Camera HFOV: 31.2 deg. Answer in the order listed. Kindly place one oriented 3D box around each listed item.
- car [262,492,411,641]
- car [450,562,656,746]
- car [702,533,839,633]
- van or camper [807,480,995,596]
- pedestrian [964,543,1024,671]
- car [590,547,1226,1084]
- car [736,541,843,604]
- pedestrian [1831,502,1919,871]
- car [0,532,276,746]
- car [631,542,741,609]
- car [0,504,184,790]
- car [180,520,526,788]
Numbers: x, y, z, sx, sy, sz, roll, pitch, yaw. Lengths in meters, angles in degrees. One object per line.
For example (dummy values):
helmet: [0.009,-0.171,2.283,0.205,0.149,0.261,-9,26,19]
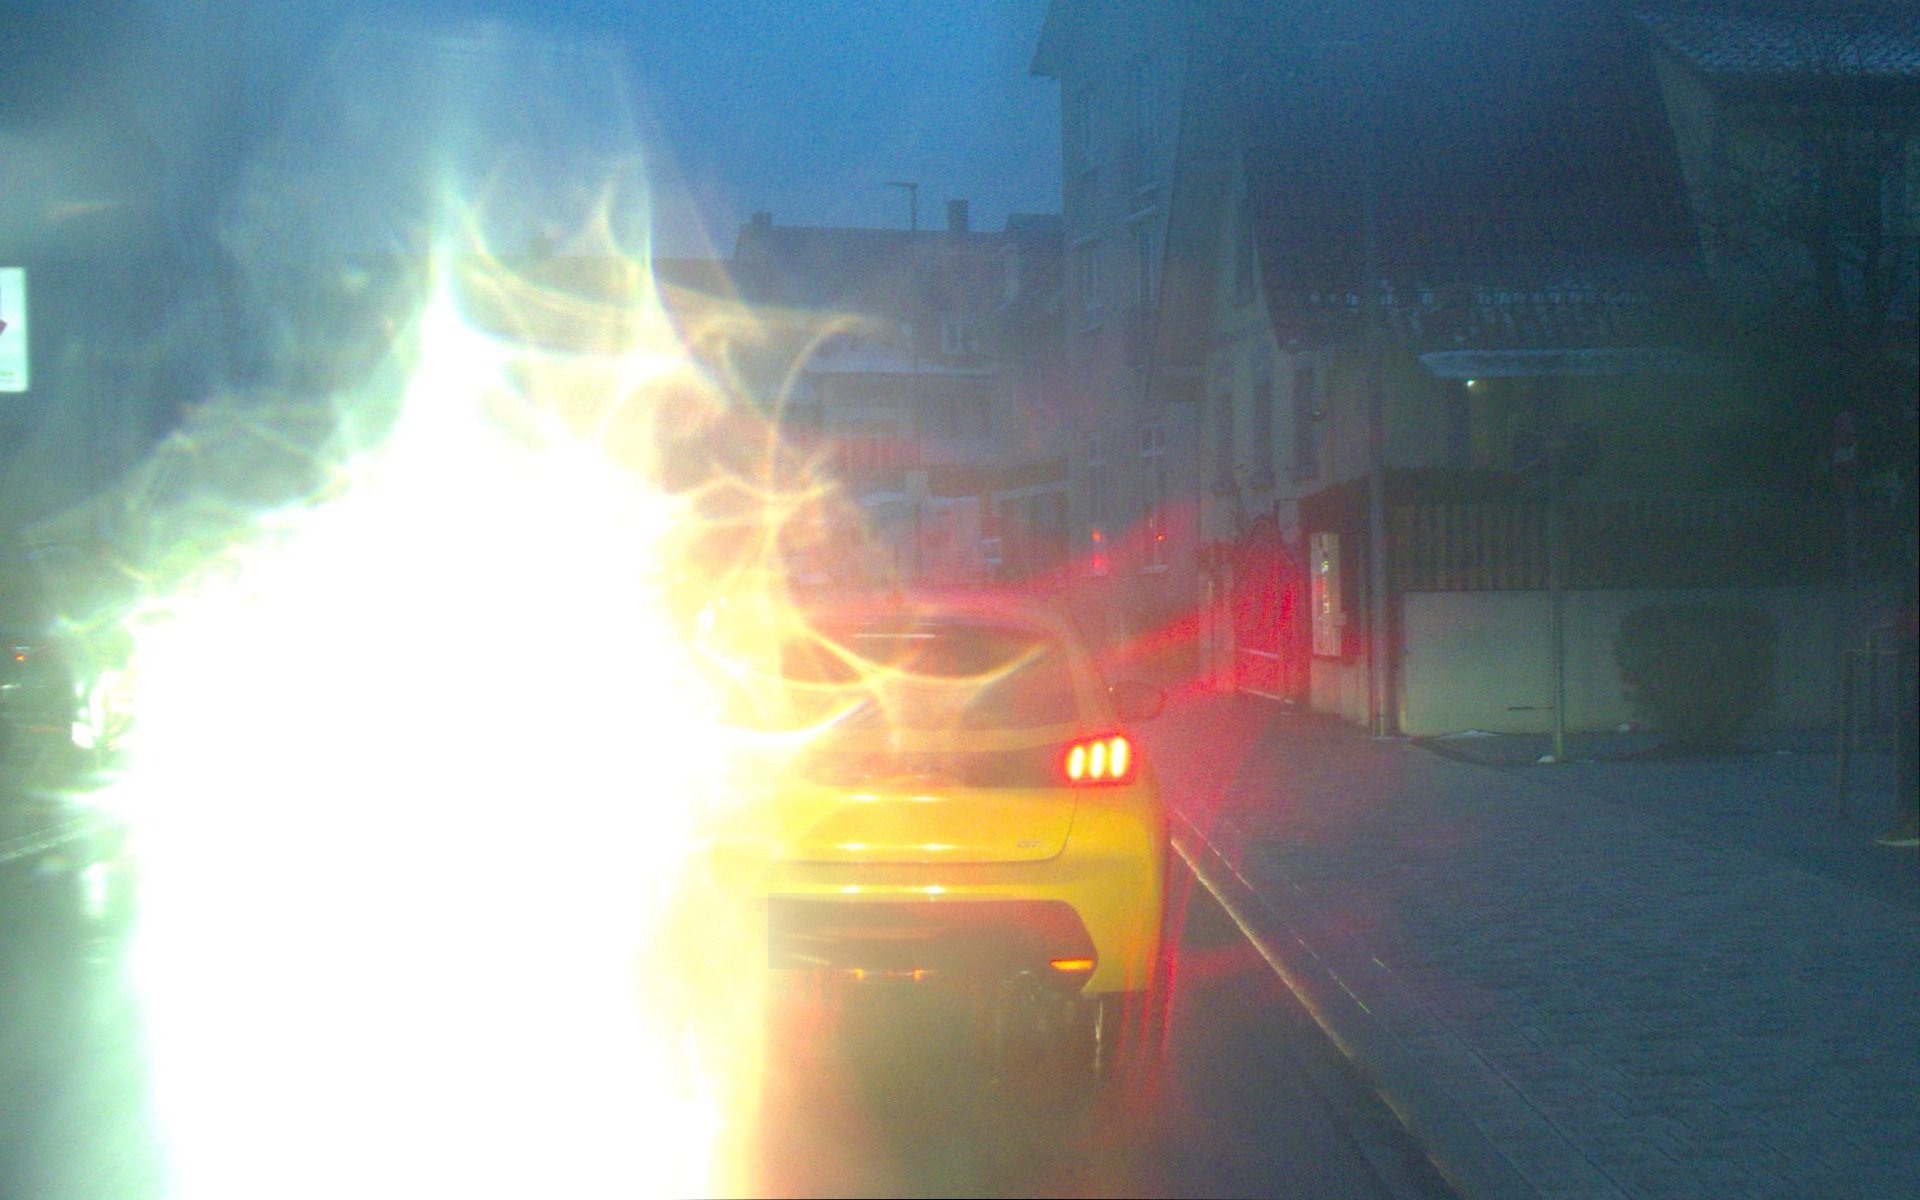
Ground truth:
car: [-11.352,-0.572,63.003,2.485,2.551,6.763,1,0,-9]
car: [-4.169,0.498,35.751,1.951,1.541,4.417,-2,3,-5]
car: [-3.200,-0.292,57.358,1.993,1.583,4.001,1,0,-7]
van or camper: [-1.717,-1.722,96.884,2.650,3.037,6.735,-4,2,-25]
pedestrian: [0.463,0.085,47.168,0.745,1.723,0.873,0,2,-5]
car: [-0.323,0.612,11.883,1.814,1.528,4.001,1,0,-5]
car: [-4.790,-0.745,96.007,1.993,1.605,4.175,-2,0,-16]
pedestrian: [4.646,0.389,16.210,0.843,1.699,0.838,-2,0,26]
car: [-7.287,0.297,30.042,1.880,1.704,4.713,1,0,-3]
car: [-7.633,-0.702,95.548,1.993,1.759,4.352,-2,1,-19]
car: [-6.735,0.248,23.870,2.085,1.786,5.025,0,1,-6]
car: [-4.415,0.312,25.732,1.993,1.700,4.968,2,2,-4]
